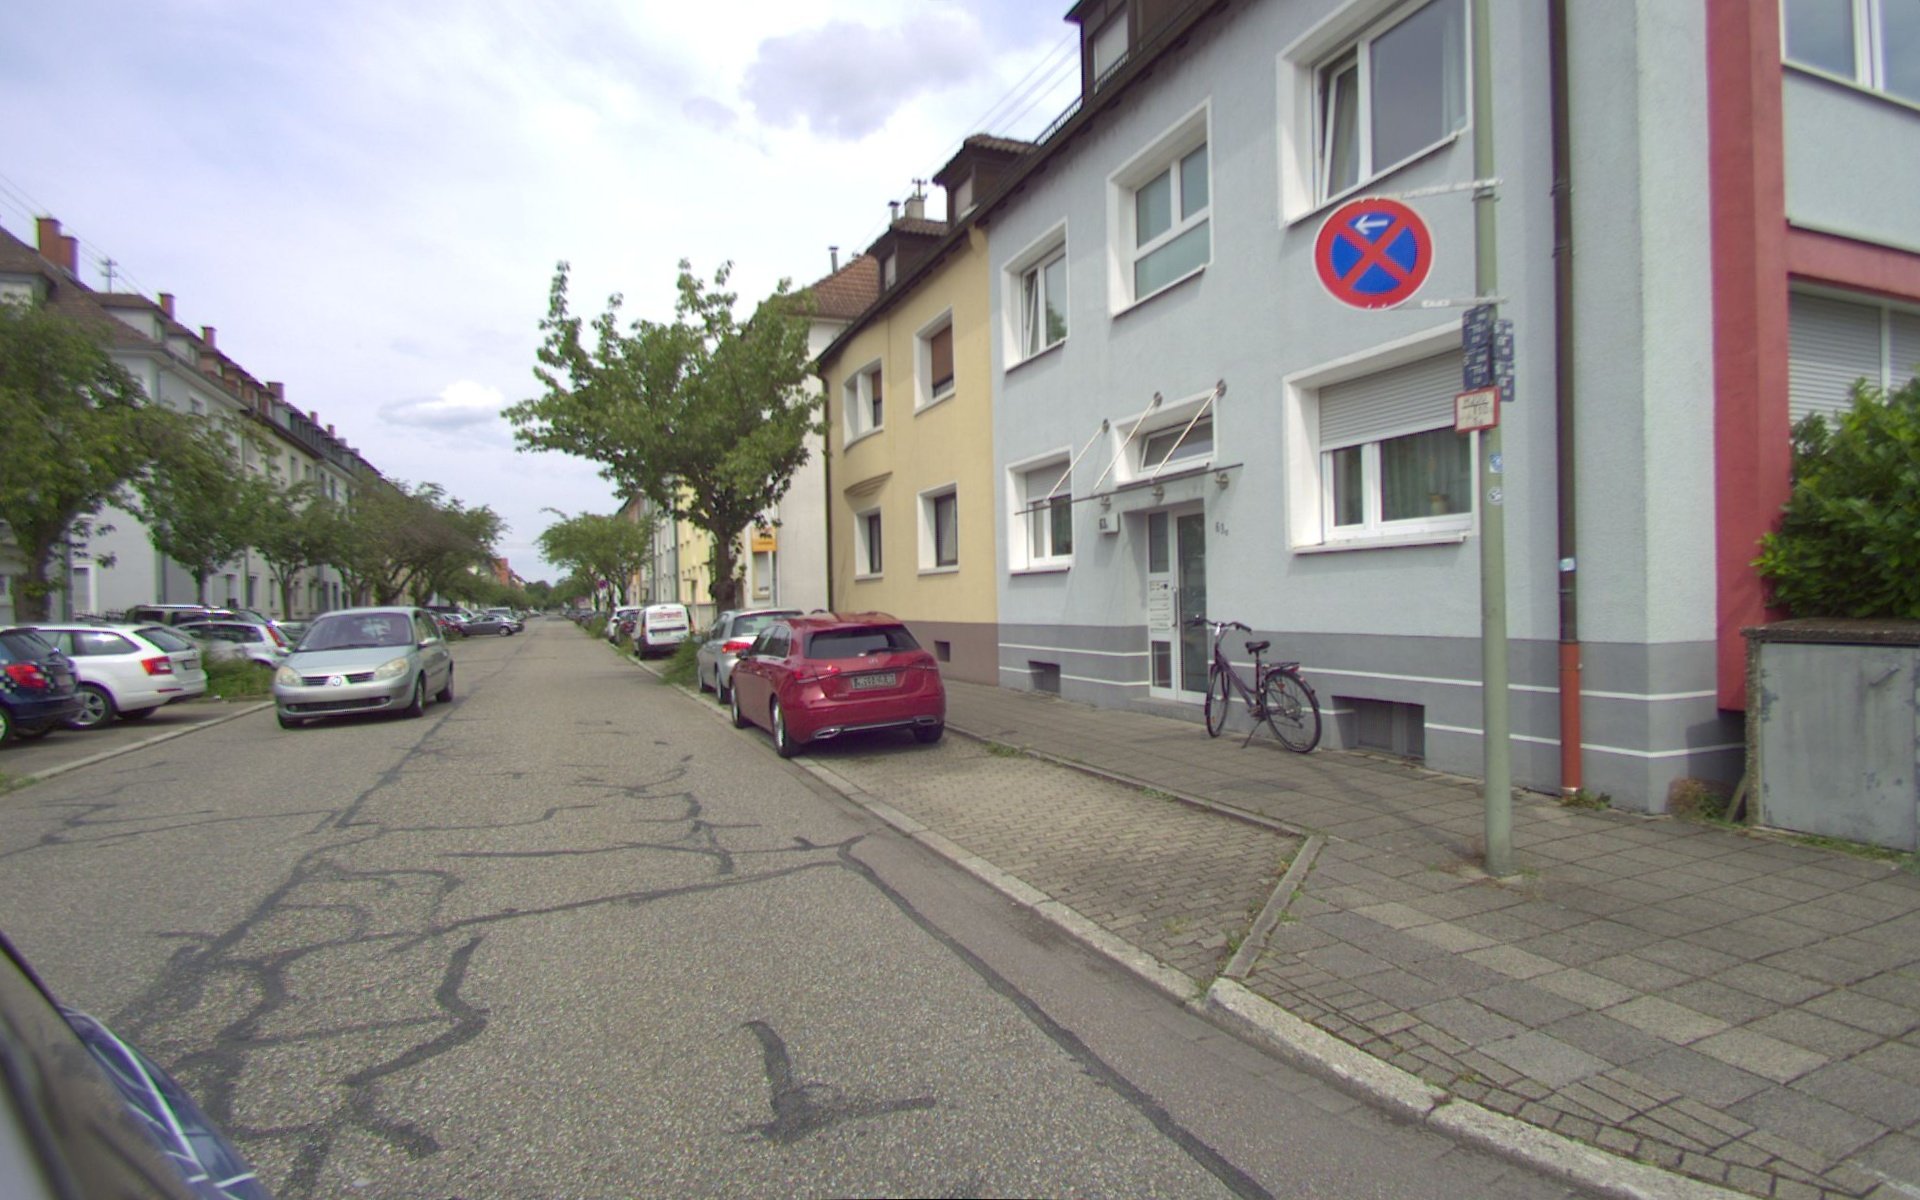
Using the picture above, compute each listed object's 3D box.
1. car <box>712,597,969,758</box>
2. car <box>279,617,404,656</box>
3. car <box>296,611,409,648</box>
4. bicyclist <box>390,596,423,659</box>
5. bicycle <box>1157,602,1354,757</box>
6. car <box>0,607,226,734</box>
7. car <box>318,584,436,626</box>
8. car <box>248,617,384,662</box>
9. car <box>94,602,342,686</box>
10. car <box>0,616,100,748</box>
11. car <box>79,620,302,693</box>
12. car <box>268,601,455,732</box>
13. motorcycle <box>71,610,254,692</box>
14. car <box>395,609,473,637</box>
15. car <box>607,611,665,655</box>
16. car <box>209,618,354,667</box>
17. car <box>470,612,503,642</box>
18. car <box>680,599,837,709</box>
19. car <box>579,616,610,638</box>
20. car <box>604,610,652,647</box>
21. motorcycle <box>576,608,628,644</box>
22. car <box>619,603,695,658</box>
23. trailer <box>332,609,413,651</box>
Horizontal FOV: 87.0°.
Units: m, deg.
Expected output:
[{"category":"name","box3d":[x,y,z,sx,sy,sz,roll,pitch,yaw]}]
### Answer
[{"category":"car","box3d":[-1.623,0.753,11.861,1.850,1.497,4.527,1,-1,-22]},{"category":"car","box3d":[-23.857,1.394,39.212,3.930,1.421,1.774,1,-1,-25]},{"category":"car","box3d":[-24.829,1.180,41.480,3.694,1.452,1.871,0,-1,-21]},{"category":"bicyclist","box3d":[-16.270,0.800,29.766,0.682,1.783,0.989,-2,0,-22]},{"category":"bicycle","box3d":[2.504,0.630,8.827,0.484,1.161,1.879,-5,1,-23]},{"category":"car","box3d":[-13.274,0.935,14.120,4.549,1.676,1.898,0,-1,-21]},{"category":"car","box3d":[-25.225,0.237,43.938,4.155,1.749,1.910,0,-1,-20]},{"category":"car","box3d":[-23.102,1.386,36.491,3.930,1.541,1.774,1,-1,-25]},{"category":"car","box3d":[-17.675,1.018,24.364,4.462,1.872,1.798,0,-1,-19]},{"category":"car","box3d":[-12.914,0.952,11.891,3.930,1.519,1.718,0,-1,-22]},{"category":"car","box3d":[-16.652,1.184,22.130,3.573,1.465,1.779,1,-1,-26]},{"category":"car","box3d":[-8.839,0.872,15.353,1.758,1.616,4.852,-2,0,-23]},{"category":"motorcycle","box3d":[-15.694,0.974,20.033,2.662,1.475,1.035,-1,0,-26]},{"category":"car","box3d":[-40.020,1.750,77.151,5.155,2.038,2.080,1,-1,-26]},{"category":"car","box3d":[-12.692,1.248,39.512,1.765,1.503,4.828,-2,1,-22]},{"category":"car","box3d":[-21.336,1.311,31.973,3.493,1.464,1.815,1,-1,-23]},{"category":"car","box3d":[-33.331,1.850,71.319,1.966,1.929,4.719,-3,1,-24]},{"category":"car","box3d":[-3.560,0.823,17.235,1.748,1.402,4.289,-8,2,-21]},{"category":"car","box3d":[-27.925,2.020,77.242,1.811,1.495,4.134,-5,1,-24]},{"category":"car","box3d":[-14.897,1.239,45.263,1.732,1.568,4.270,-1,0,-22]},{"category":"motorcycle","box3d":[-17.388,1.268,49.144,2.460,1.689,0.931,-2,-2,25]},{"category":"car","box3d":[-9.545,0.928,31.684,1.891,1.593,4.396,1,-1,-22]},{"category":"trailer","box3d":[-26.508,1.333,45.746,2.919,1.845,1.405,0,-1,-18]}]
